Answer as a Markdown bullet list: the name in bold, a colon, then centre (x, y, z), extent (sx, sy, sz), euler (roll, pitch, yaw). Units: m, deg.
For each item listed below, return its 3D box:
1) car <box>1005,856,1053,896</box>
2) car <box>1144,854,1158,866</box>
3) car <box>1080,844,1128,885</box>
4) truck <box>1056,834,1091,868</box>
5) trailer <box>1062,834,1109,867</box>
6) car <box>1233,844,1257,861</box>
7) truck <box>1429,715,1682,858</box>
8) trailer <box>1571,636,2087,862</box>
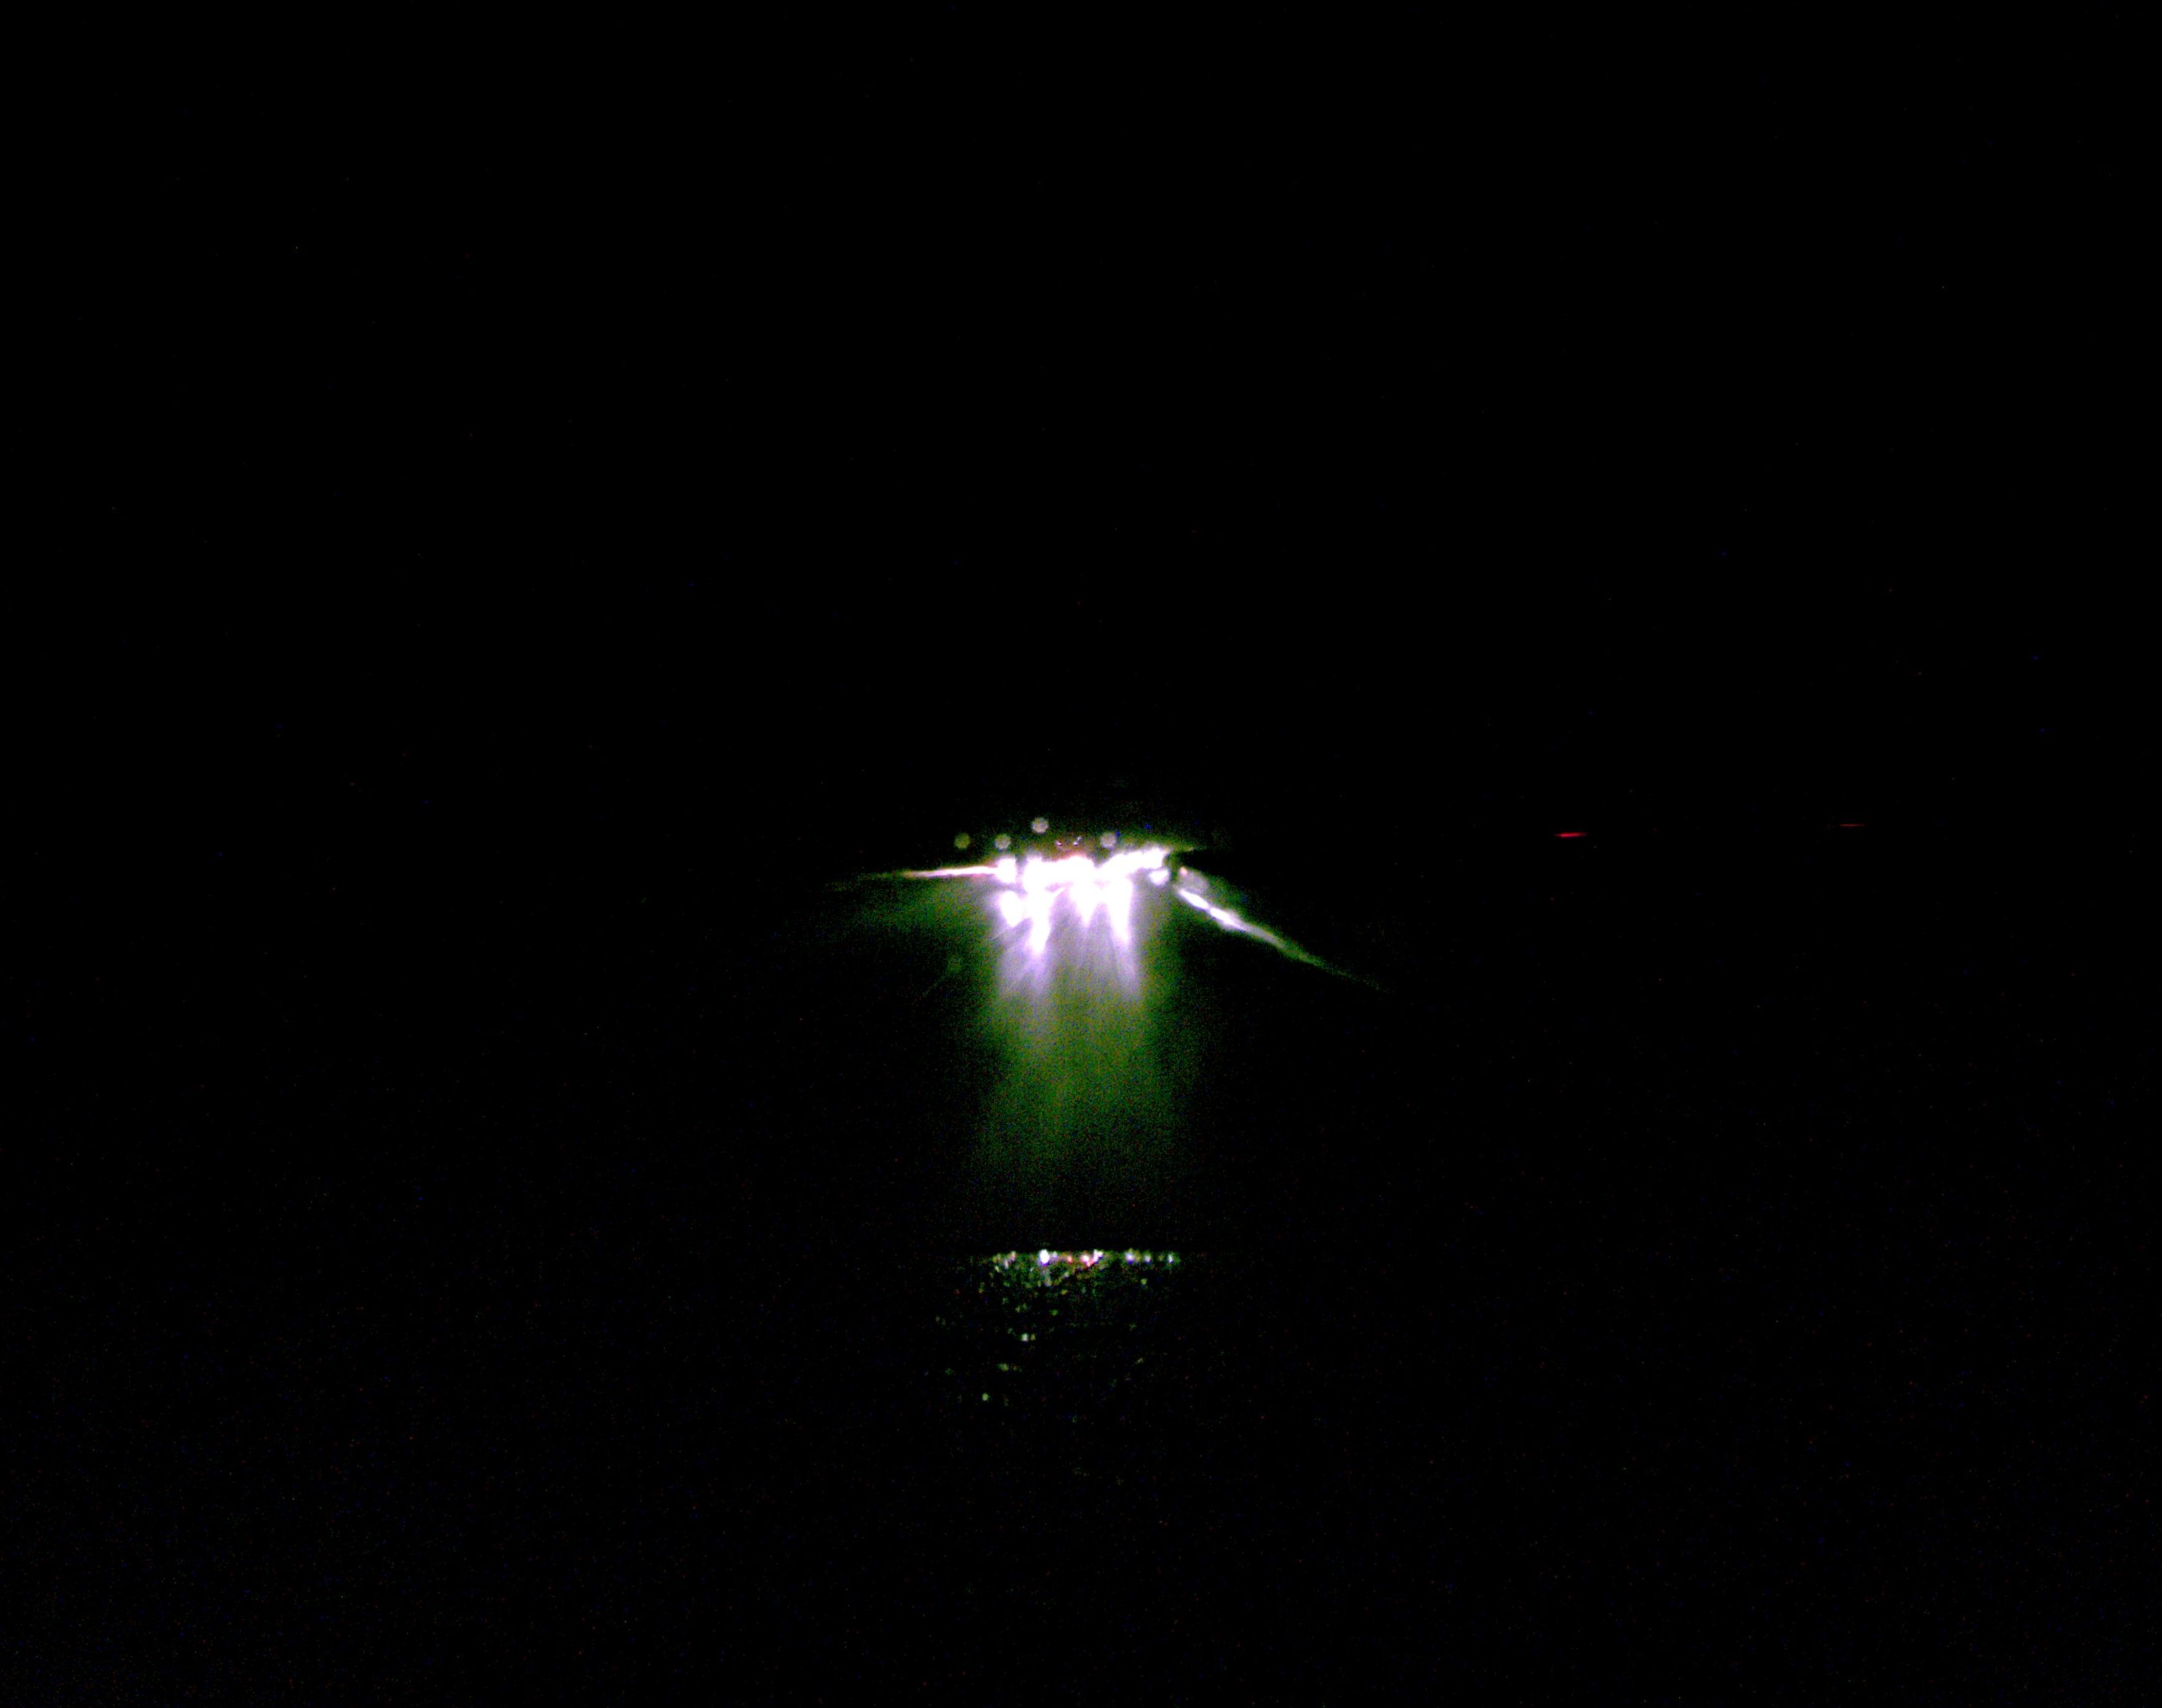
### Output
- **car**: centre (-2.435, 1.044, 36.430), extent (1.848, 1.614, 3.680), euler (-6, -1, 1)
- **car**: centre (11.411, 0.987, 124.138), extent (1.998, 1.802, 4.001), euler (-7, -1, 2)
- **car**: centre (1.335, 0.570, 42.402), extent (1.997, 2.001, 4.003), euler (-5, -1, 9)
- **truck**: centre (-0.918, -0.404, 97.499), extent (2.780, 3.945, 5.203), euler (-7, -1, 14)
- **trailer**: centre (0.799, -0.487, 104.351), extent (2.744, 3.954, 13.833), euler (-7, -1, 14)
- **car**: centre (18.937, -0.174, 87.935), extent (1.998, 1.674, 4.001), euler (-7, -1, 3)
- **truck**: centre (17.023, -2.051, 28.691), extent (2.955, 4.012, 10.656), euler (-7, -1, 3)
- **trailer**: centre (16.603, -1.847, 18.505), extent (2.935, 3.726, 9.502), euler (-7, -1, 1)
